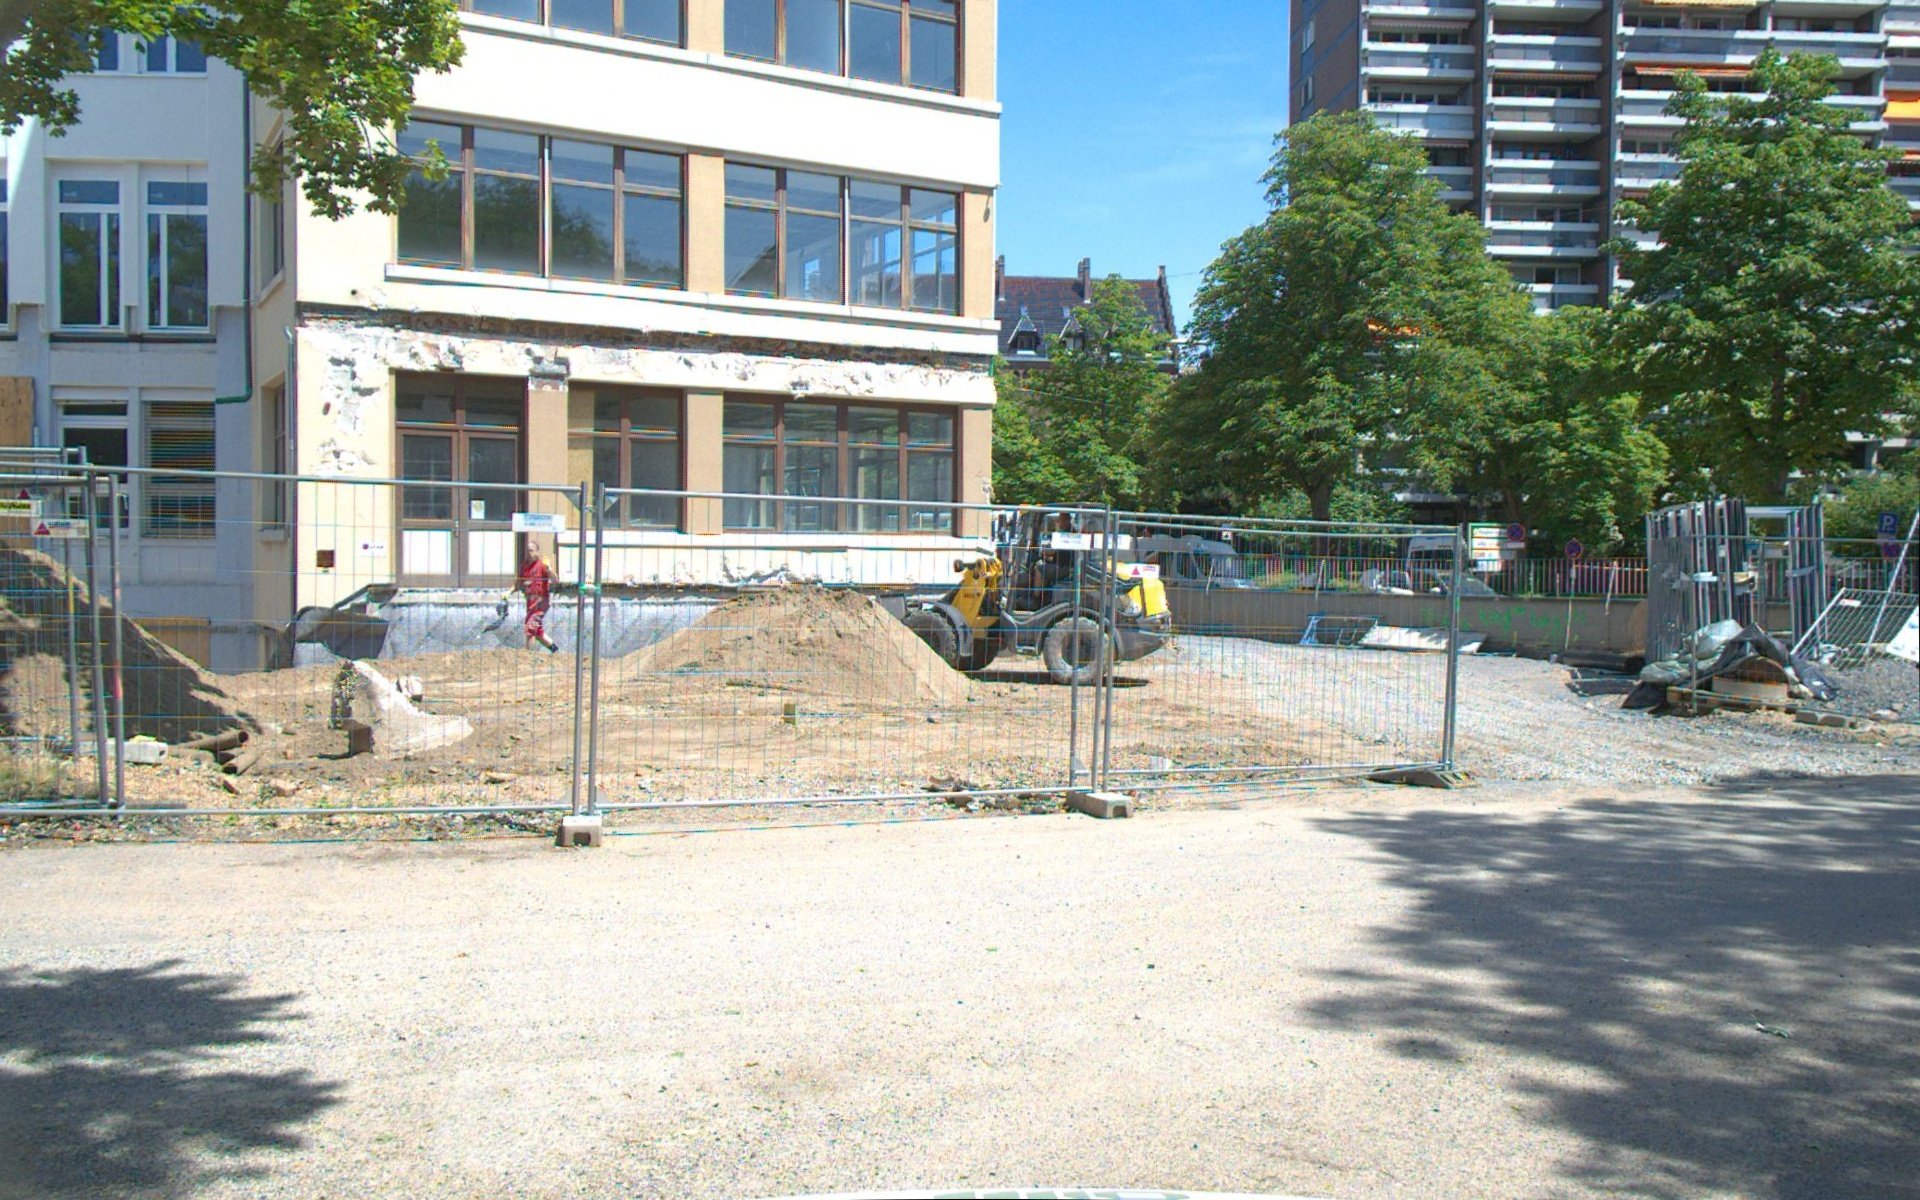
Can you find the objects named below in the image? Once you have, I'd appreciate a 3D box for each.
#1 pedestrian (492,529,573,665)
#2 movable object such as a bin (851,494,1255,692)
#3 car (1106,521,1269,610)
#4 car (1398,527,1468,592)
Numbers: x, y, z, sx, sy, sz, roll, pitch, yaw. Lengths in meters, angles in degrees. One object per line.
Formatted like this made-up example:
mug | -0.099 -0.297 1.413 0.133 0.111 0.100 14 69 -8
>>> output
pedestrian | -6.040 -0.052 23.346 0.970 1.879 0.910 0 1 -24
movable object such as a bin | 1.367 -0.167 23.709 5.290 2.507 2.369 2 2 18
car | 6.582 -0.996 48.443 1.973 2.458 5.190 0 1 -30
car | 17.419 -1.461 60.738 2.139 2.297 4.870 0 1 20
